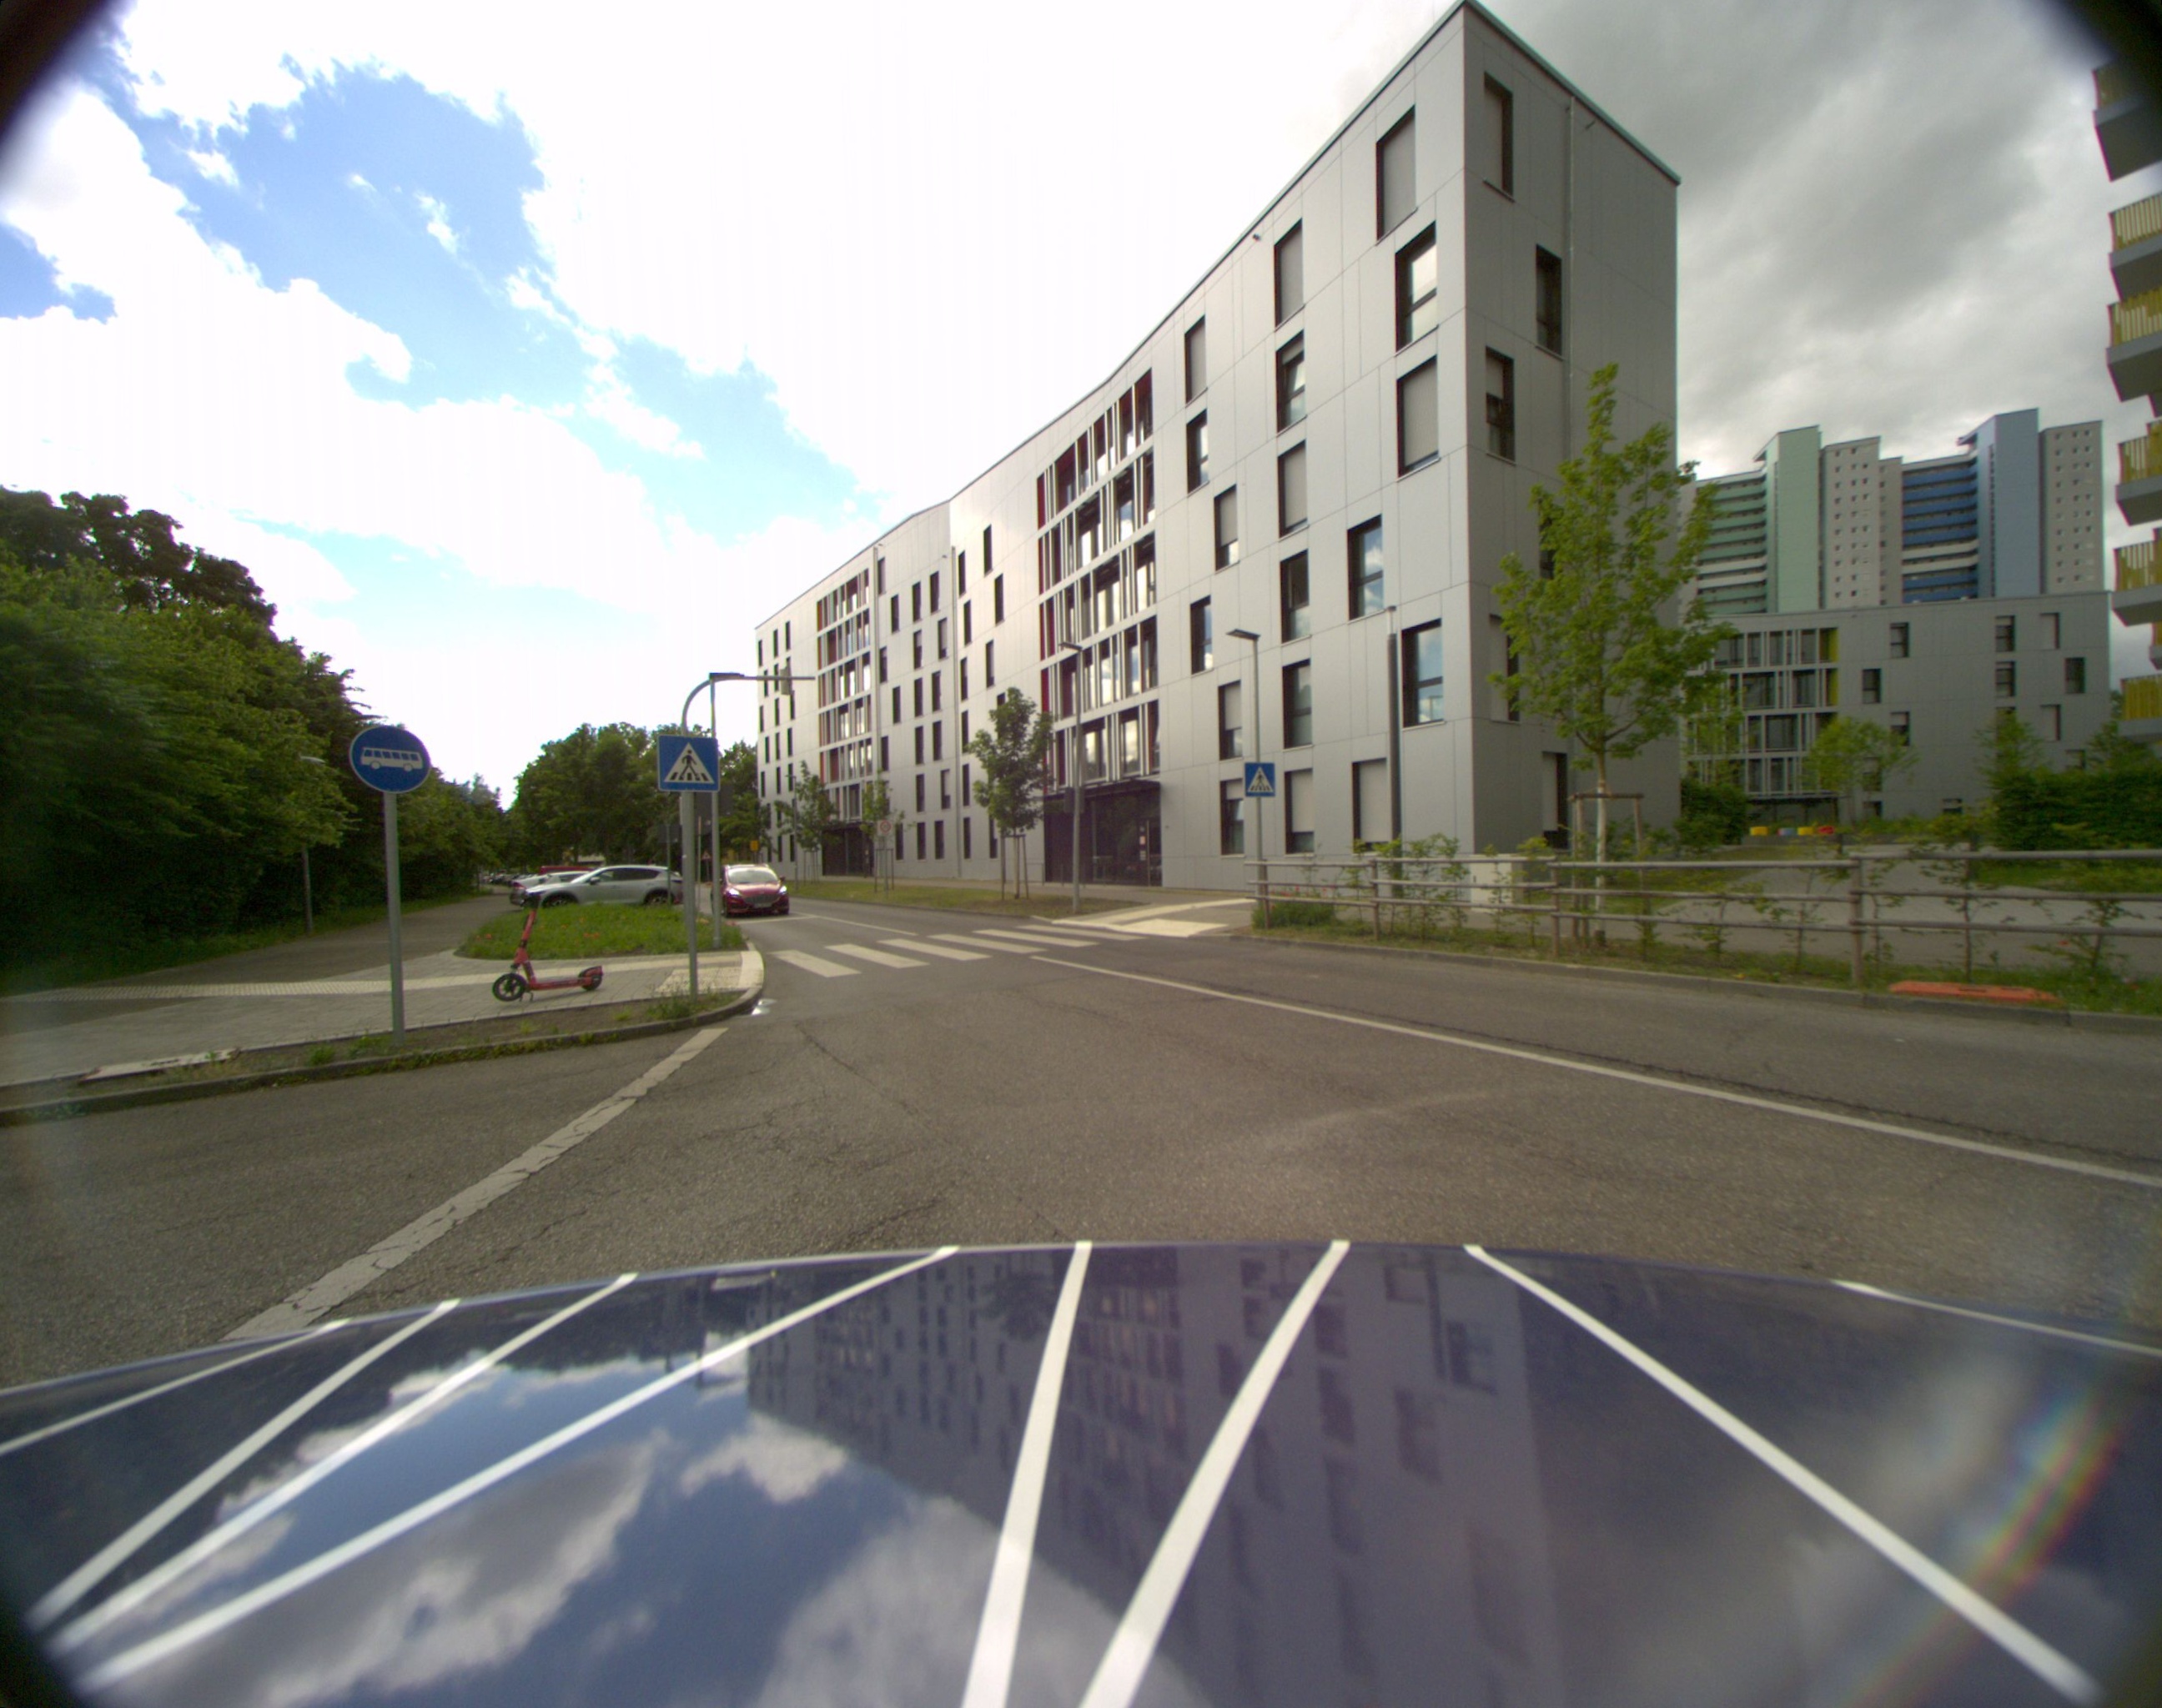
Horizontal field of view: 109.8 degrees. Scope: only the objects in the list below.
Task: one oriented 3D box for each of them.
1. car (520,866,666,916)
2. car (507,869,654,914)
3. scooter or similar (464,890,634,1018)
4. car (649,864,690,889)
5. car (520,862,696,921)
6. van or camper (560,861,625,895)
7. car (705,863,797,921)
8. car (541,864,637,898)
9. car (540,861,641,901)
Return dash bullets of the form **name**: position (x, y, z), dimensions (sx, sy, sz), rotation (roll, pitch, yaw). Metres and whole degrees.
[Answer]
- **car**: position (-17.147, 1.242, 26.803), dimensions (4.176, 1.576, 1.791), rotation (-1, 0, -35)
- **car**: position (-18.744, 1.357, 28.586), dimensions (4.500, 1.553, 1.907), rotation (0, -1, -35)
- **scooter or similar**: position (-6.262, 1.125, 9.037), dimensions (0.571, 1.305, 1.528), rotation (-2, 1, 25)
- **car**: position (-27.413, 1.479, 50.597), dimensions (1.822, 1.608, 3.990), rotation (-1, 0, -37)
- **car**: position (-15.344, 1.156, 24.753), dimensions (4.673, 1.741, 2.064), rotation (1, -2, -37)
- **van or camper**: position (-37.677, 1.815, 58.609), dimensions (3.988, 2.306, 1.879), rotation (-4, 2, -35)
- **car**: position (-10.810, 1.149, 24.726), dimensions (1.937, 1.622, 4.232), rotation (-4, 2, -34)
- **car**: position (-28.351, 1.522, 43.829), dimensions (4.574, 1.887, 1.879), rotation (1, -1, -35)
- **car**: position (-25.373, 1.361, 39.343), dimensions (4.302, 1.881, 1.833), rotation (-1, -1, -35)
